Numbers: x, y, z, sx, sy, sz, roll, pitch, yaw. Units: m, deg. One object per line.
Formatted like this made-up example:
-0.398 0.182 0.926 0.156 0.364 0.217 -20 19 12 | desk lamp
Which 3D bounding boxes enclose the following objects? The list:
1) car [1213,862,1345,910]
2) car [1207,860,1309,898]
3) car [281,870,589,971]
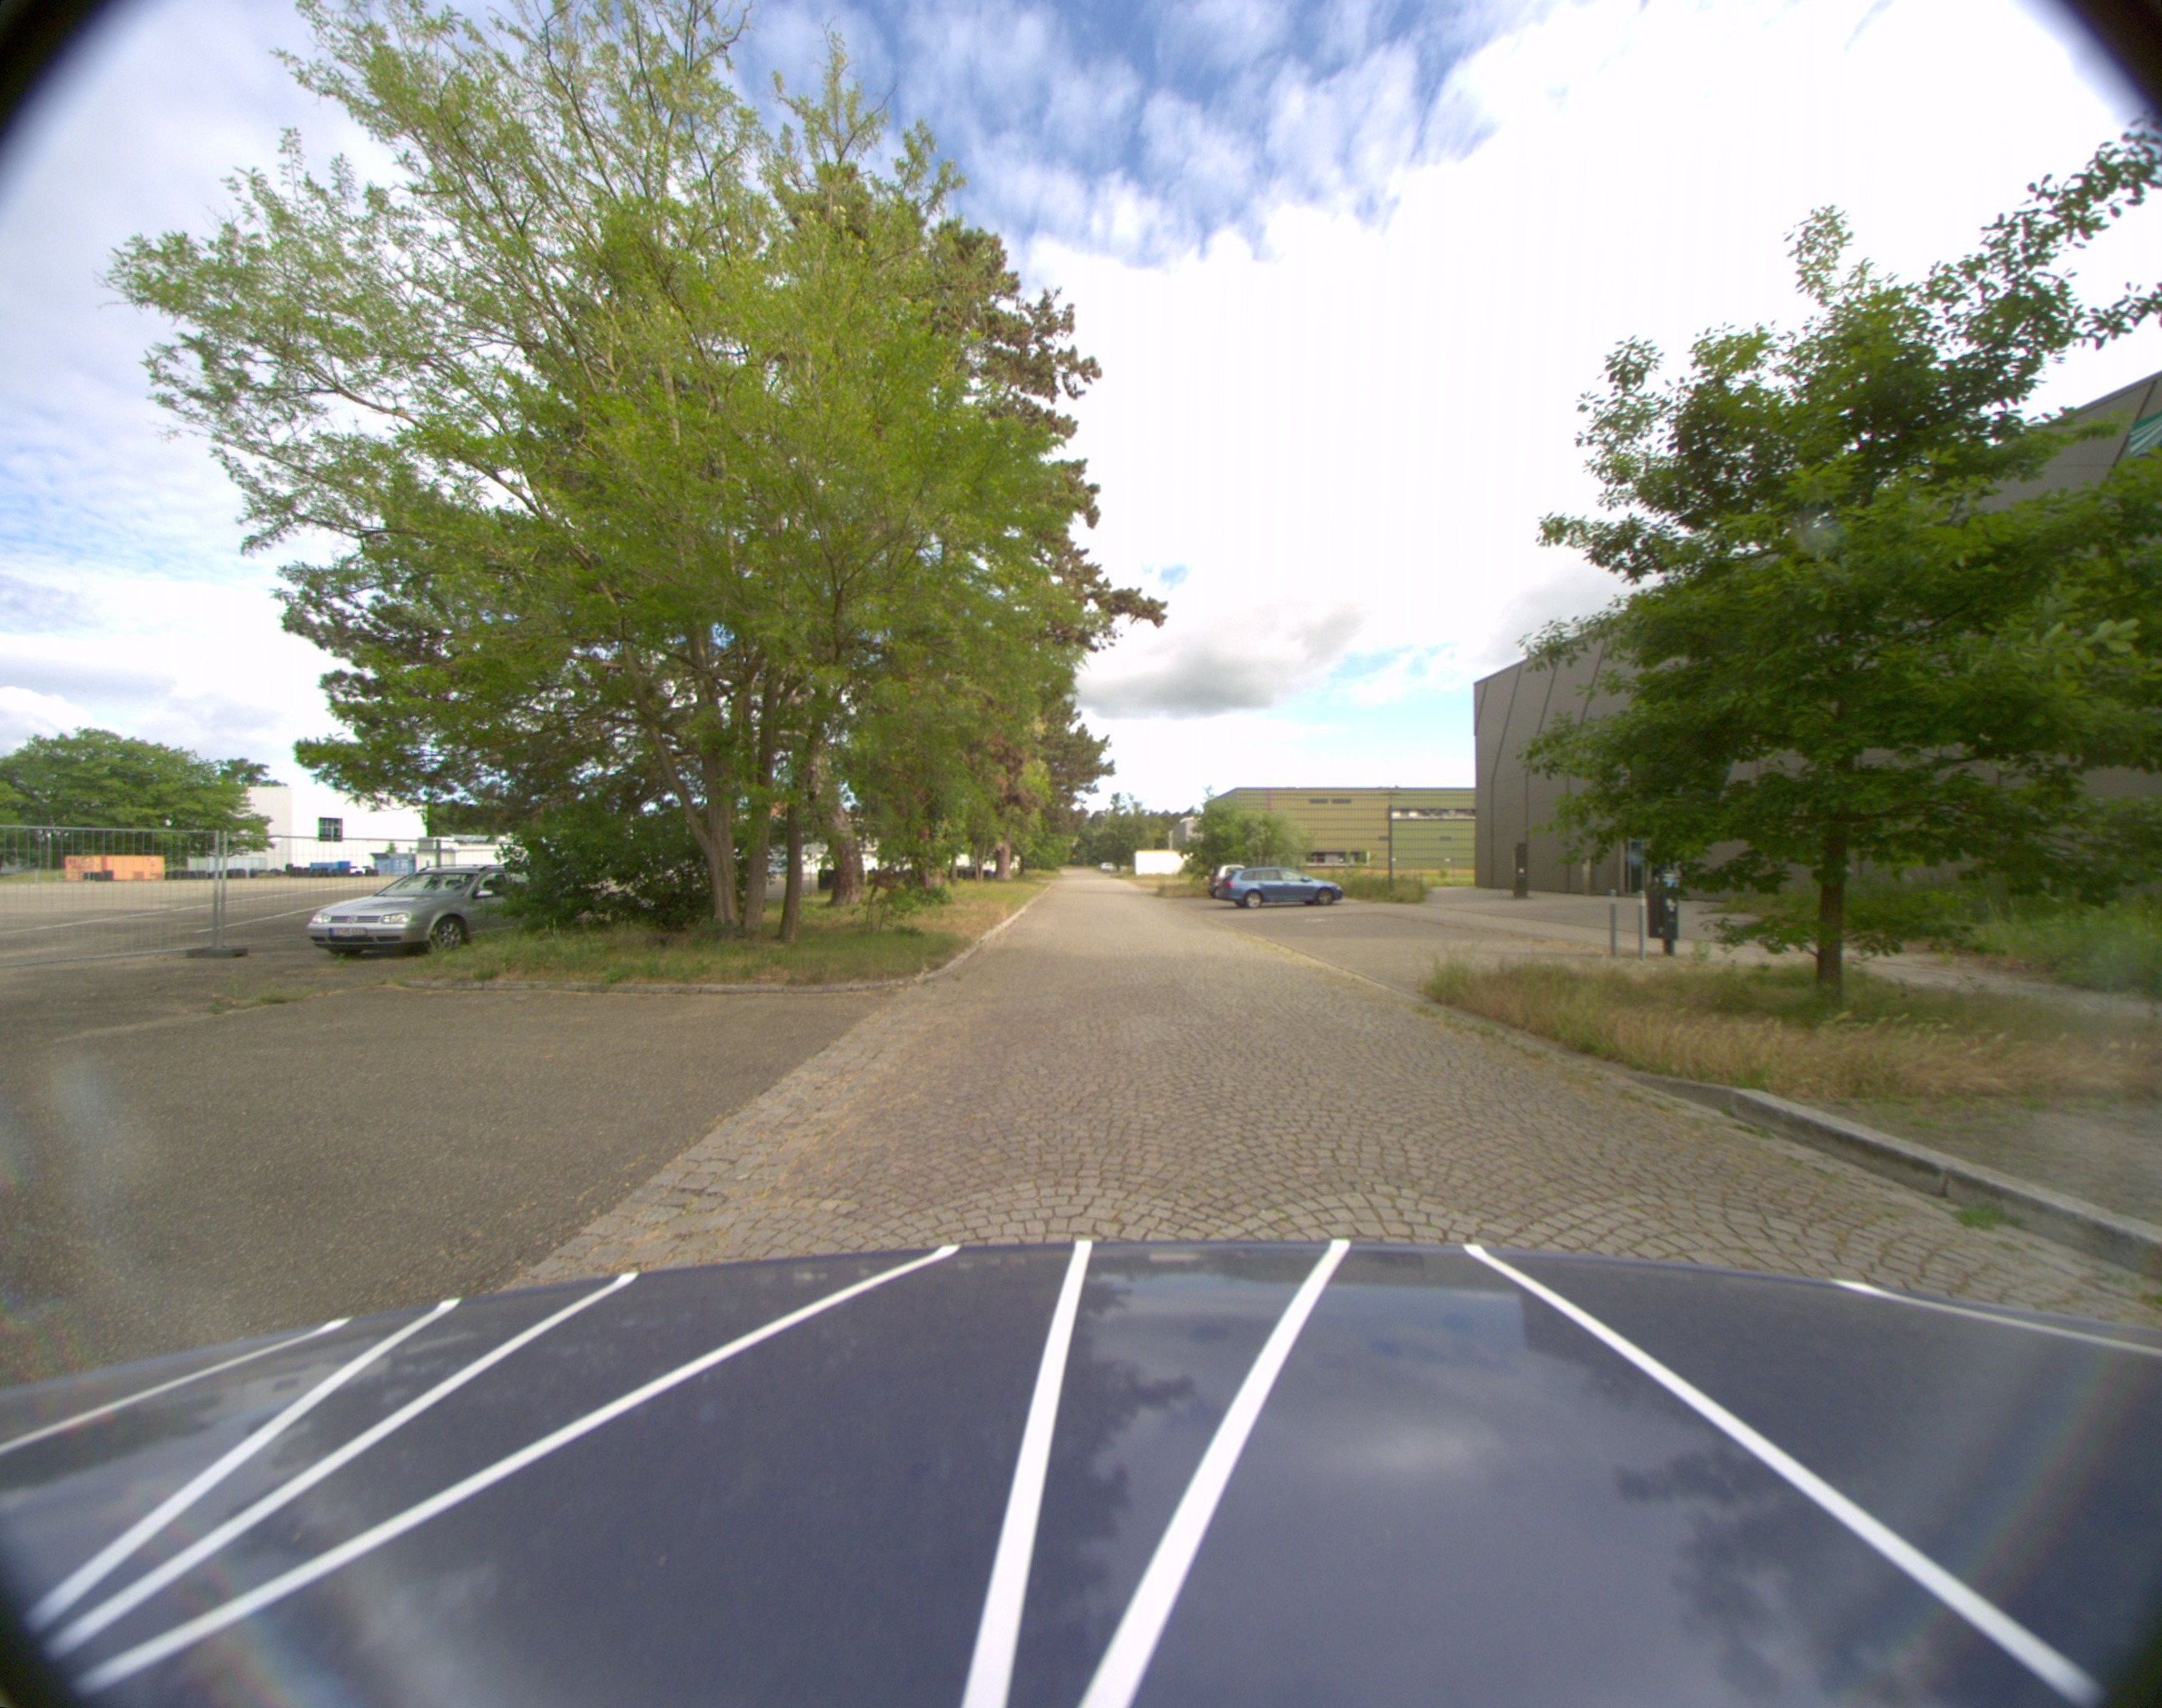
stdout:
7.279 1.162 28.172 4.404 1.501 1.716 -3 0 -3 | car
8.215 1.146 35.524 4.401 1.537 1.842 -2 0 6 | car
-11.094 1.047 13.557 1.759 1.440 4.327 0 0 1 | car
